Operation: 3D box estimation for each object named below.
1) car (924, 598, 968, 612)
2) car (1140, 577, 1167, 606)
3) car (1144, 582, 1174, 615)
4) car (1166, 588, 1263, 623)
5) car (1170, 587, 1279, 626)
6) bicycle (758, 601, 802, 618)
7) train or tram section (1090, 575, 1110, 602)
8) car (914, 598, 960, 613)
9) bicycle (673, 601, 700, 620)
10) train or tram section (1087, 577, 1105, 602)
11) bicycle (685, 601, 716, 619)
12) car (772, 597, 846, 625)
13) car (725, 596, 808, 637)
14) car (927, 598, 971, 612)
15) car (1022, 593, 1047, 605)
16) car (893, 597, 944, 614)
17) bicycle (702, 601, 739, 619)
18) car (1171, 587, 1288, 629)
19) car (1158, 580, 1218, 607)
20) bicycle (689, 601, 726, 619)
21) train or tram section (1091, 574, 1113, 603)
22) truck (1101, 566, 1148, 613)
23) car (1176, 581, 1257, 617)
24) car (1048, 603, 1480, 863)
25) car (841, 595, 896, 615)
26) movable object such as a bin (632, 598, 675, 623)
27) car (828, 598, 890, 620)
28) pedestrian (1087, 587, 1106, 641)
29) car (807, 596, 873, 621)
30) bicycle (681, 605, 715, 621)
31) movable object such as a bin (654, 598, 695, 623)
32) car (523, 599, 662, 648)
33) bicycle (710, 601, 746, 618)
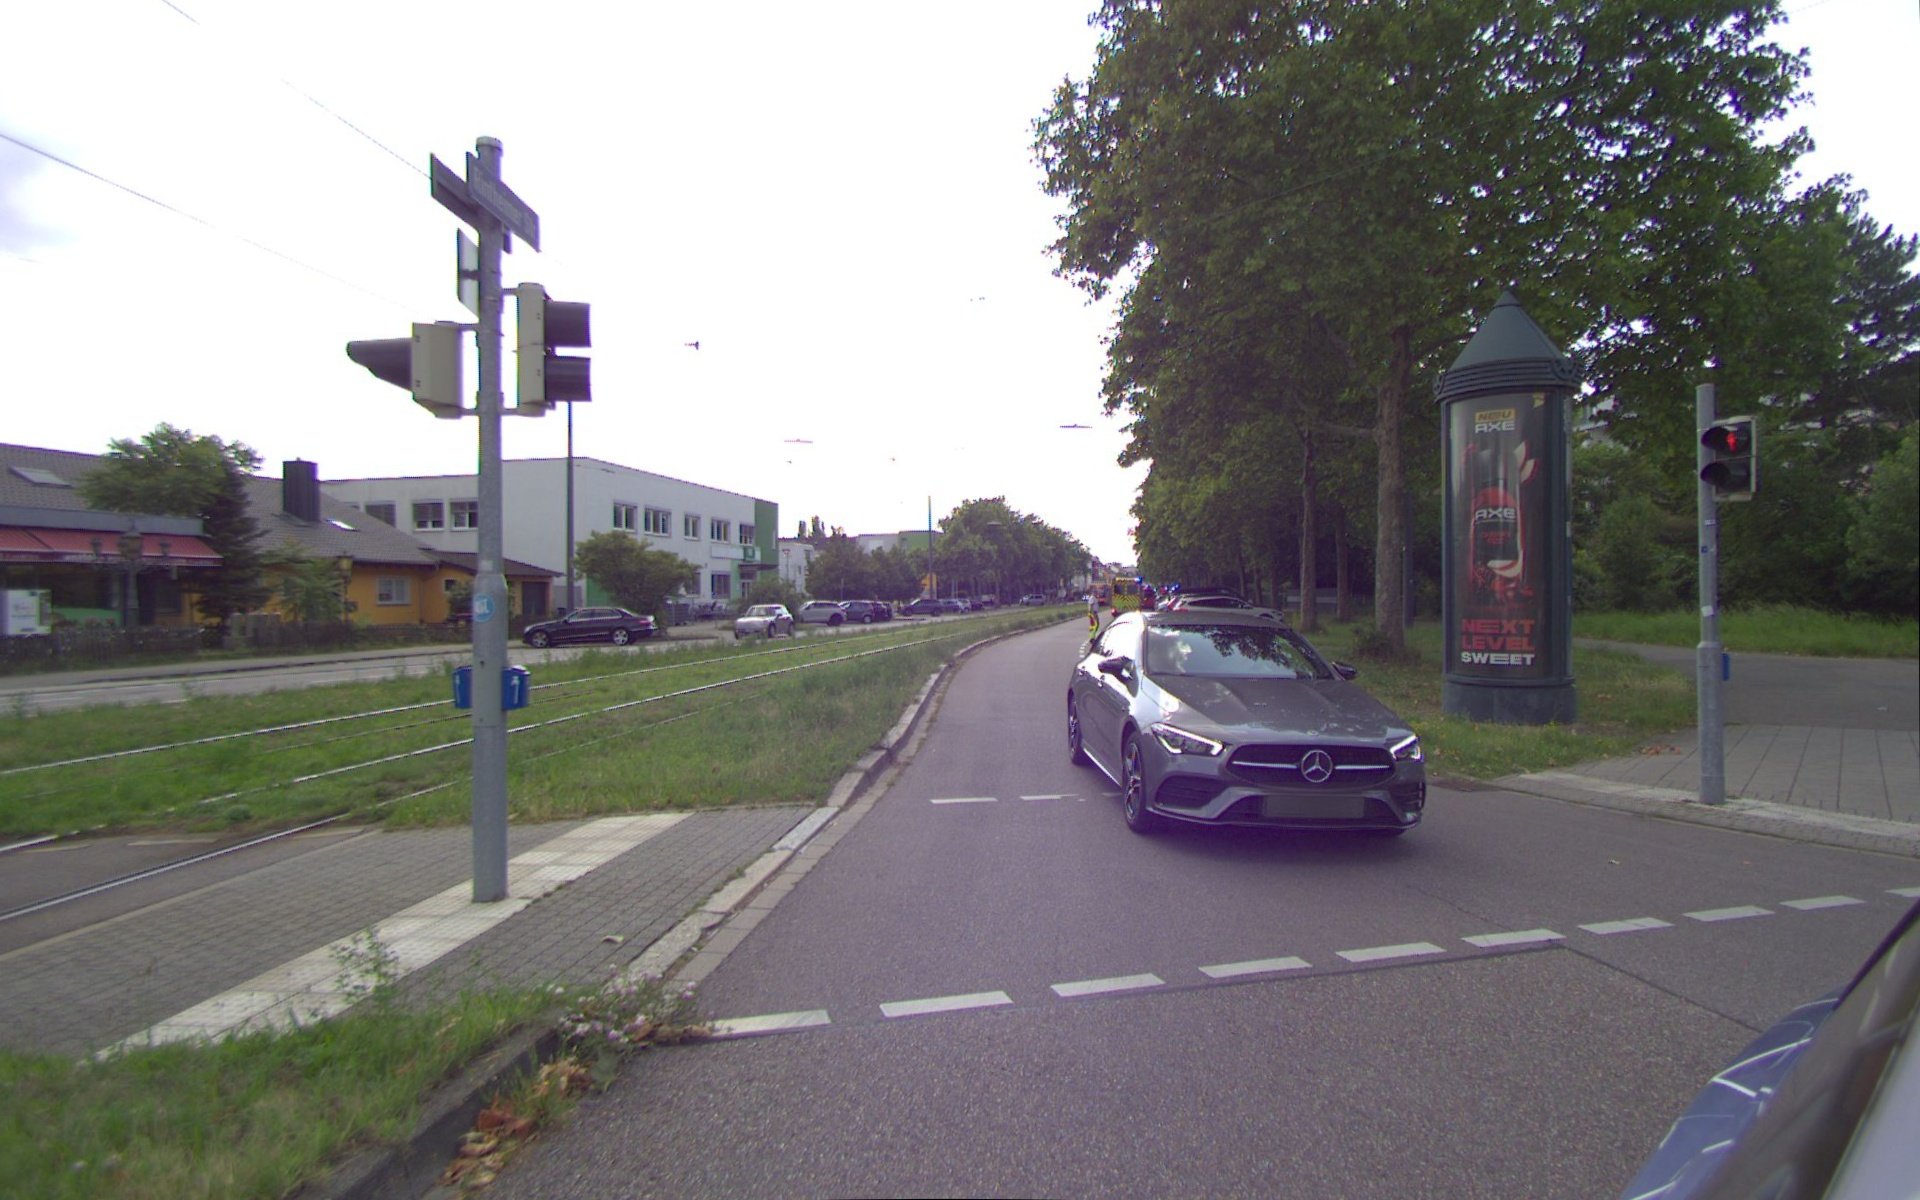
[{"bbox_3d":[-1.426,0.518,102.578,4.226,1.381,1.905,-1,0,-10],"label":"car"},{"bbox_3d":[23.271,-1.021,122.004,2.927,3.372,7.437,1,0,10],"label":"car"},{"bbox_3d":[21.395,-0.136,109.261,2.927,3.359,7.437,1,0,10],"label":"car"},{"bbox_3d":[12.448,0.291,49.790,4.469,1.665,1.994,-1,-1,10],"label":"car"},{"bbox_3d":[11.598,0.298,44.691,4.469,1.665,1.994,-1,-1,10],"label":"car"},{"bbox_3d":[-13.436,0.714,75.586,3.091,1.180,1.139,-1,0,8],"label":"bicycle"},{"bbox_3d":[19.495,-1.535,141.170,2.452,3.642,7.410,-1,0,6],"label":"train or tram section"},{"bbox_3d":[-2.300,0.505,99.382,4.226,1.381,1.905,-1,0,-10],"label":"car"},{"bbox_3d":[-17.579,0.674,64.992,1.606,1.180,0.699,-1,0,29],"label":"bicycle"},{"bbox_3d":[20.986,-1.588,155.890,2.452,3.642,7.410,-1,0,6],"label":"train or tram section"},{"bbox_3d":[-16.359,0.607,63.731,1.768,1.095,0.734,-1,0,10],"label":"bicycle"},{"bbox_3d":[-9.428,0.640,63.232,4.225,1.650,1.906,-1,0,-21],"label":"car"},{"bbox_3d":[-8.190,0.667,43.274,1.874,1.650,4.296,0,0,14],"label":"car"},{"bbox_3d":[-1.139,0.521,105.156,4.226,1.381,1.905,-1,0,-10],"label":"car"},{"bbox_3d":[13.021,-0.181,176.179,3.915,1.861,1.826,1,0,-20],"label":"car"},{"bbox_3d":[-3.661,0.483,89.188,4.225,1.381,1.905,-1,0,-12],"label":"car"},{"bbox_3d":[-16.161,0.676,68.338,2.387,1.180,0.744,-1,0,20],"label":"bicycle"},{"bbox_3d":[11.150,0.355,42.152,4.469,1.665,1.994,-1,-1,10],"label":"car"},{"bbox_3d":[30.201,-0.878,134.361,7.332,3.372,2.969,1,0,7],"label":"car"},{"bbox_3d":[-16.807,0.657,67.316,2.320,1.180,0.756,-1,0,18],"label":"bicycle"},{"bbox_3d":[18.756,-1.539,133.819,2.452,3.642,7.410,-1,0,6],"label":"train or tram section"},{"bbox_3d":[12.697,-0.789,77.675,3.145,3.359,7.495,-1,0,12],"label":"truck"},{"bbox_3d":[14.931,-0.043,59.212,4.487,2.039,1.992,-1,-1,13],"label":"car"},{"bbox_3d":[1.918,0.756,7.989,1.805,1.411,4.608,1,0,-3],"label":"car"},{"bbox_3d":[-7.074,0.398,78.272,4.084,1.523,1.864,0,0,-10],"label":"car"},{"bbox_3d":[-16.805,0.579,55.610,1.357,1.343,2.107,-1,0,15],"label":"movable object such as a bin"},{"bbox_3d":[-7.201,0.598,72.099,4.082,1.523,1.864,0,0,-15],"label":"car"},{"bbox_3d":[4.351,0.438,32.206,0.578,1.705,0.493,0,-1,10],"label":"pedestrian"},{"bbox_3d":[-8.181,0.560,69.151,4.224,1.650,1.906,0,0,-16],"label":"car"},{"bbox_3d":[-17.208,0.850,66.475,2.129,0.982,0.727,-1,0,16],"label":"bicycle"},{"bbox_3d":[-16.289,0.587,57.818,1.357,1.343,2.121,-1,0,15],"label":"movable object such as a bin"},{"bbox_3d":[-13.495,0.828,37.431,4.486,1.600,2.003,-2,0,-8],"label":"car"},{"bbox_3d":[-15.841,0.620,69.191,2.359,1.129,0.792,-1,0,19],"label":"bicycle"}]
